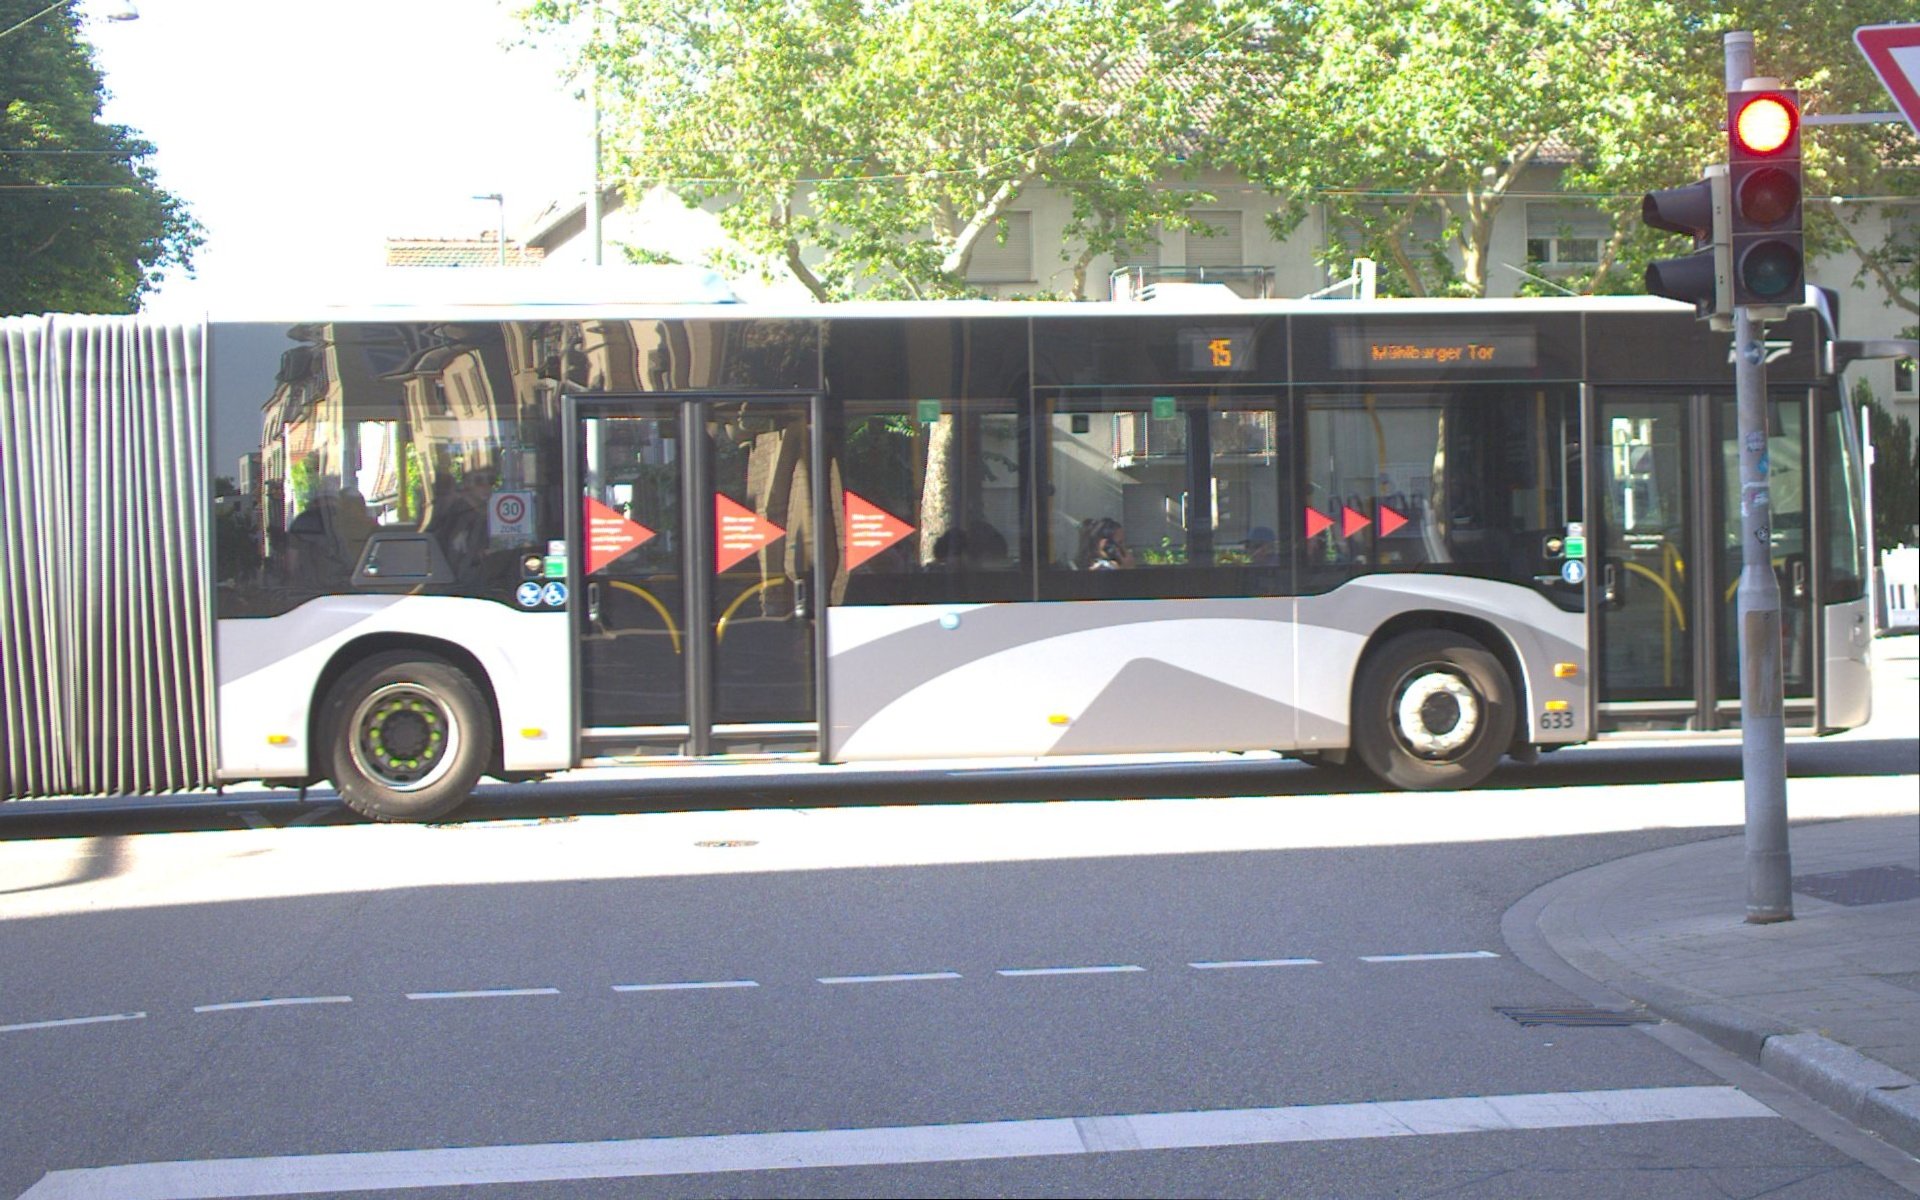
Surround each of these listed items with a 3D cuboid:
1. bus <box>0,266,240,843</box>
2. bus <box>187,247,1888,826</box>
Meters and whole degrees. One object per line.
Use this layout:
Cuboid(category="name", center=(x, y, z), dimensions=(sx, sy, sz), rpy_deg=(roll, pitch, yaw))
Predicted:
Cuboid(category="bus", center=(-8.657, -0.190, 19.303), dimensions=(8.821, 3.086, 2.746), rpy_deg=(-1, 1, -8))
Cuboid(category="bus", center=(0.411, -0.430, 20.641), dimensions=(9.618, 3.086, 2.746), rpy_deg=(-1, 1, -8))
